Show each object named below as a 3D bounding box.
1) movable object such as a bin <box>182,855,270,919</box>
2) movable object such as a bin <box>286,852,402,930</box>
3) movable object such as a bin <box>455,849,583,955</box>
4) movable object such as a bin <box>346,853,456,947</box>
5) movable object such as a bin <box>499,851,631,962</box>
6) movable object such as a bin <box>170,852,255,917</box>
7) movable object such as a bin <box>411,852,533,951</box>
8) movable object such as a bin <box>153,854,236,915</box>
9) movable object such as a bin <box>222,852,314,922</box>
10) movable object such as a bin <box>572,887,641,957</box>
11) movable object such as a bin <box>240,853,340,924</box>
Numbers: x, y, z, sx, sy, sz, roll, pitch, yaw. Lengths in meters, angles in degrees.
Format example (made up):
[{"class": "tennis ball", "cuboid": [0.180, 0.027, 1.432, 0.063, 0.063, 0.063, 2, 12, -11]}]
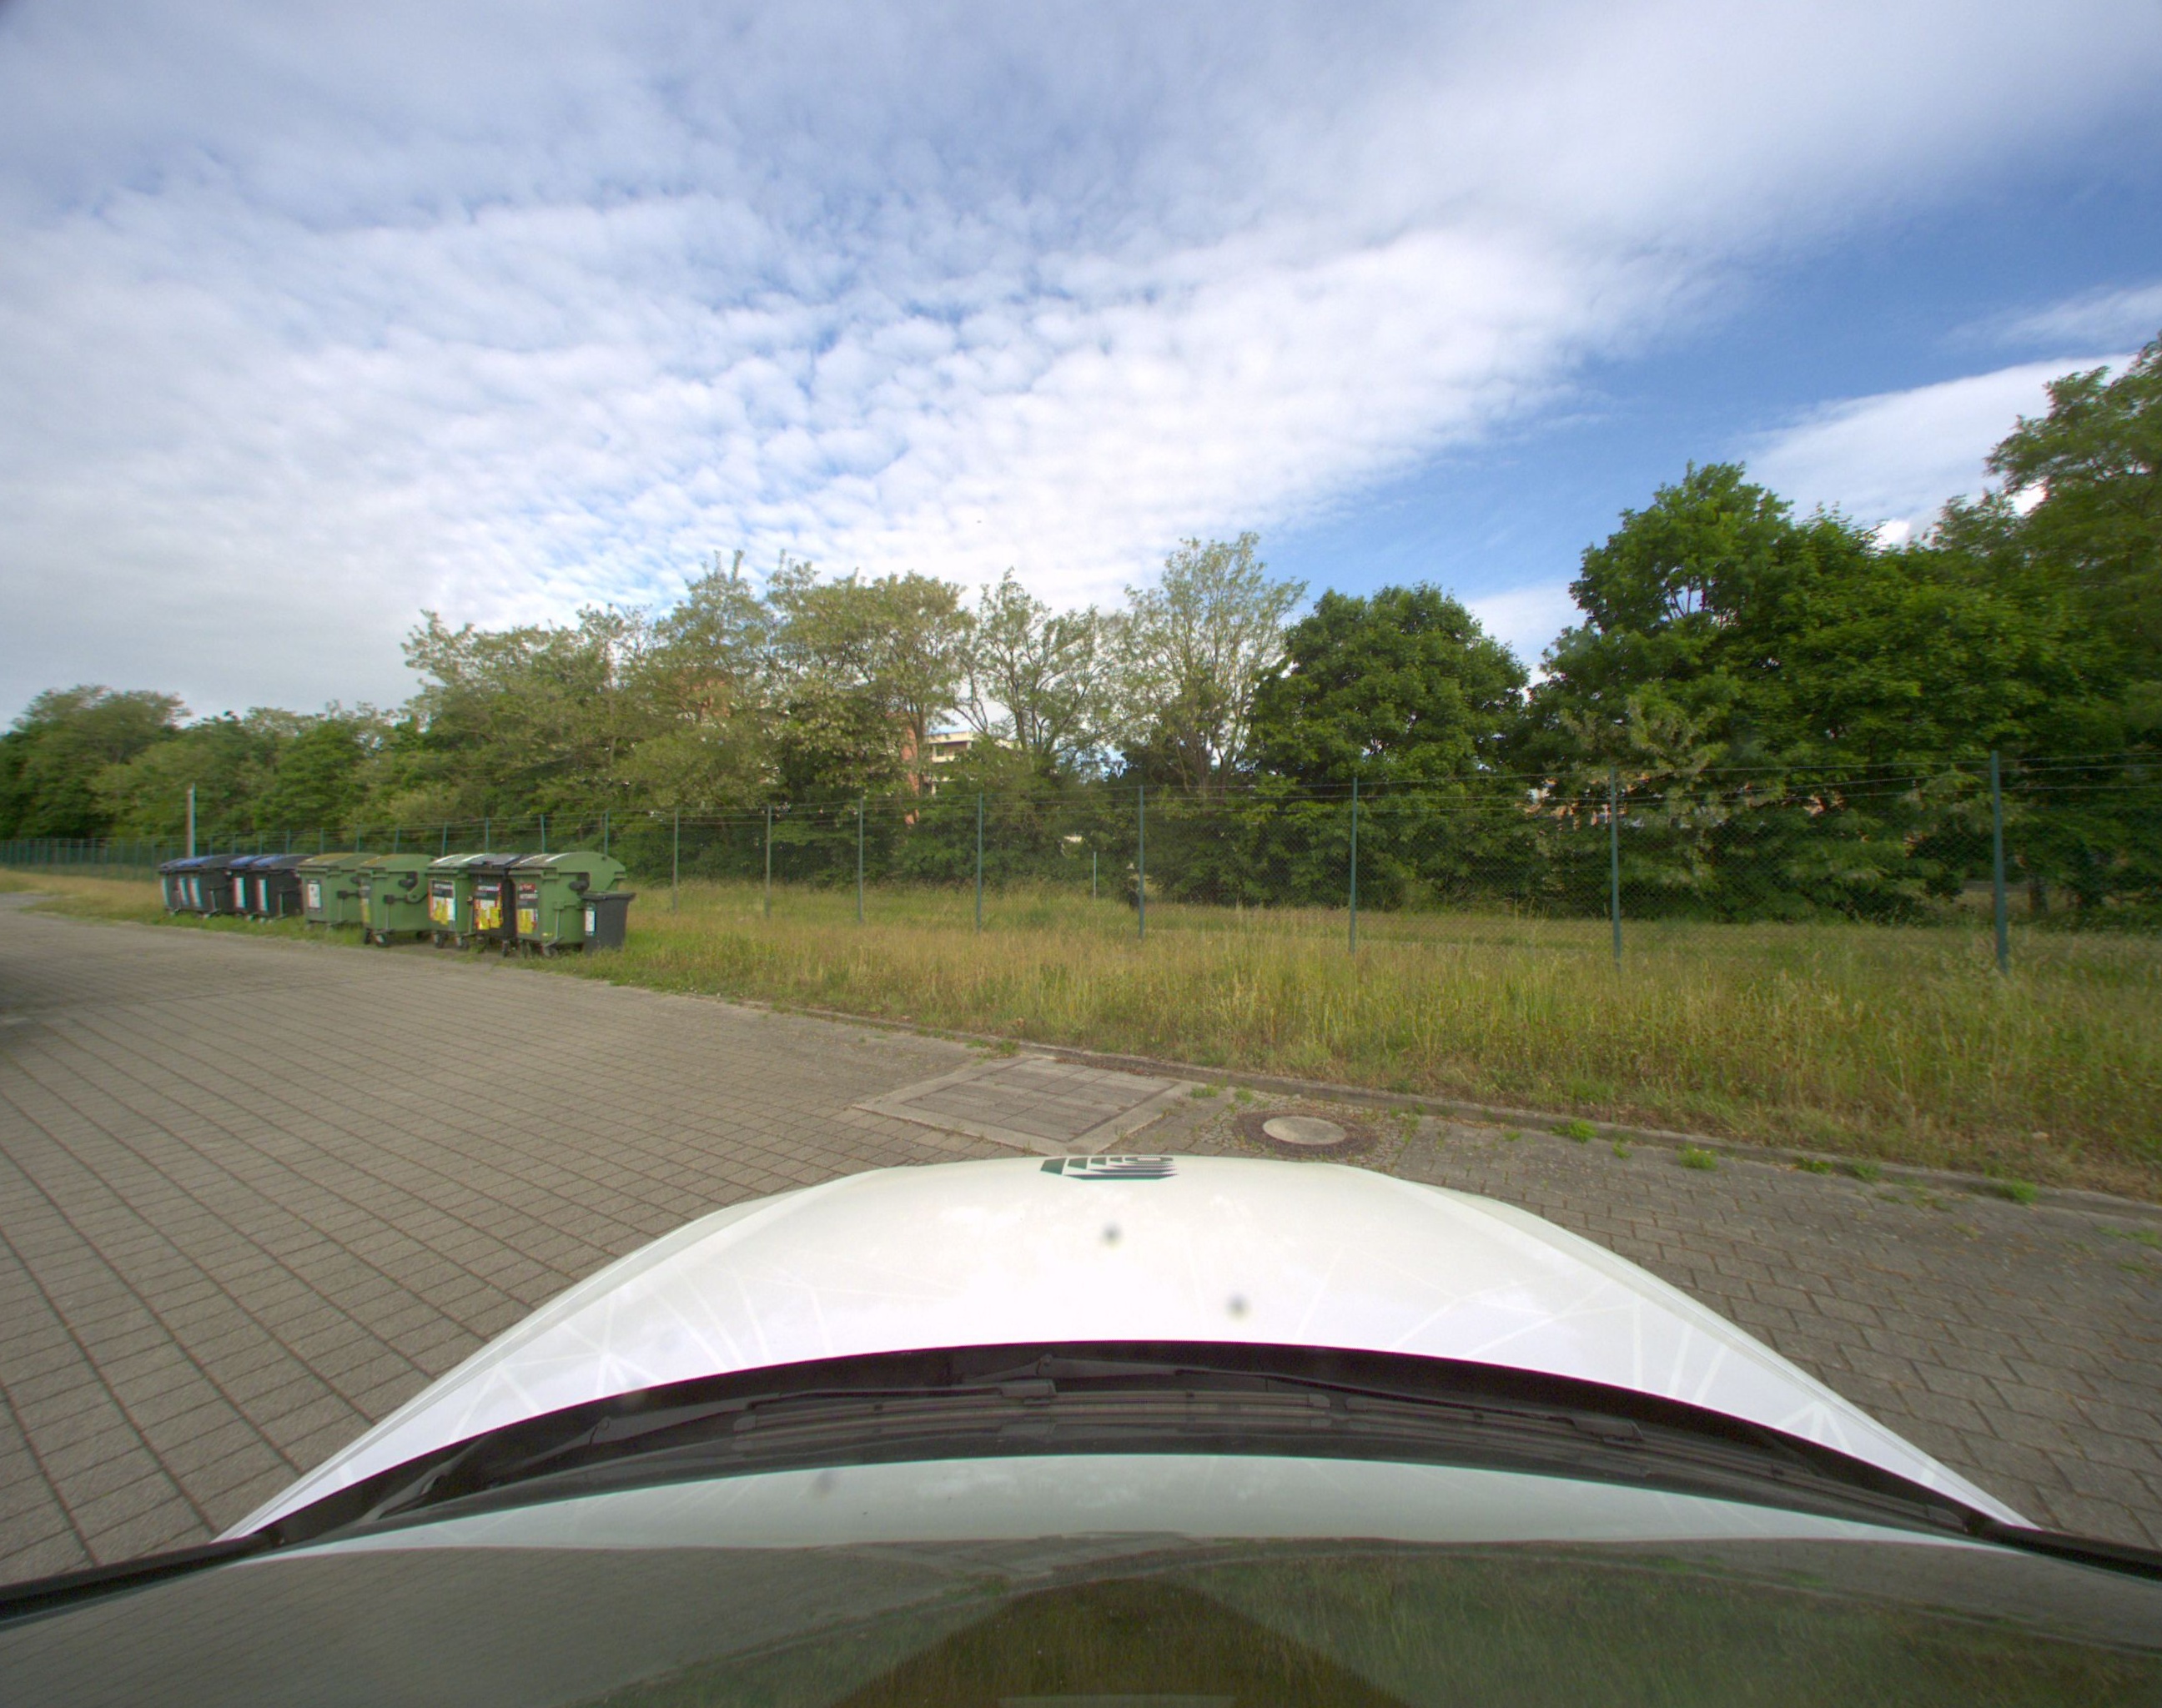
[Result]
[{"class": "movable object such as a bin", "cuboid": [-18.364, 0.674, 17.493, 1.308, 1.321, 1.133, 0, 0, 37]}, {"class": "movable object such as a bin", "cuboid": [-12.995, 0.627, 14.372, 1.362, 1.296, 1.133, -1, -2, 30]}, {"class": "movable object such as a bin", "cuboid": [-8.166, 0.669, 11.837, 1.380, 1.435, 1.079, -1, -2, 34]}, {"class": "movable object such as a bin", "cuboid": [-10.839, 0.710, 12.987, 1.367, 1.398, 1.133, -2, -2, 41]}, {"class": "movable object such as a bin", "cuboid": [-7.037, 0.677, 11.115, 1.339, 1.395, 1.139, -1, -2, 39]}, {"class": "movable object such as a bin", "cuboid": [-19.427, 0.675, 18.219, 1.308, 1.379, 1.133, -1, -2, 36]}, {"class": "movable object such as a bin", "cuboid": [-9.320, 0.698, 12.472, 1.367, 1.406, 1.079, -1, -2, 34]}, {"class": "movable object such as a bin", "cuboid": [-20.615, 0.702, 18.940, 1.407, 1.351, 1.133, -1, -2, 36]}, {"class": "movable object such as a bin", "cuboid": [-16.944, 0.670, 16.973, 1.474, 1.374, 1.133, -1, -2, 36]}, {"class": "movable object such as a bin", "cuboid": [-6.201, 0.869, 10.638, 0.578, 0.866, 0.605, -1, -2, 39]}, {"class": "movable object such as a bin", "cuboid": [-15.642, 0.669, 16.108, 1.474, 1.325, 1.165, -1, -2, 36]}]
